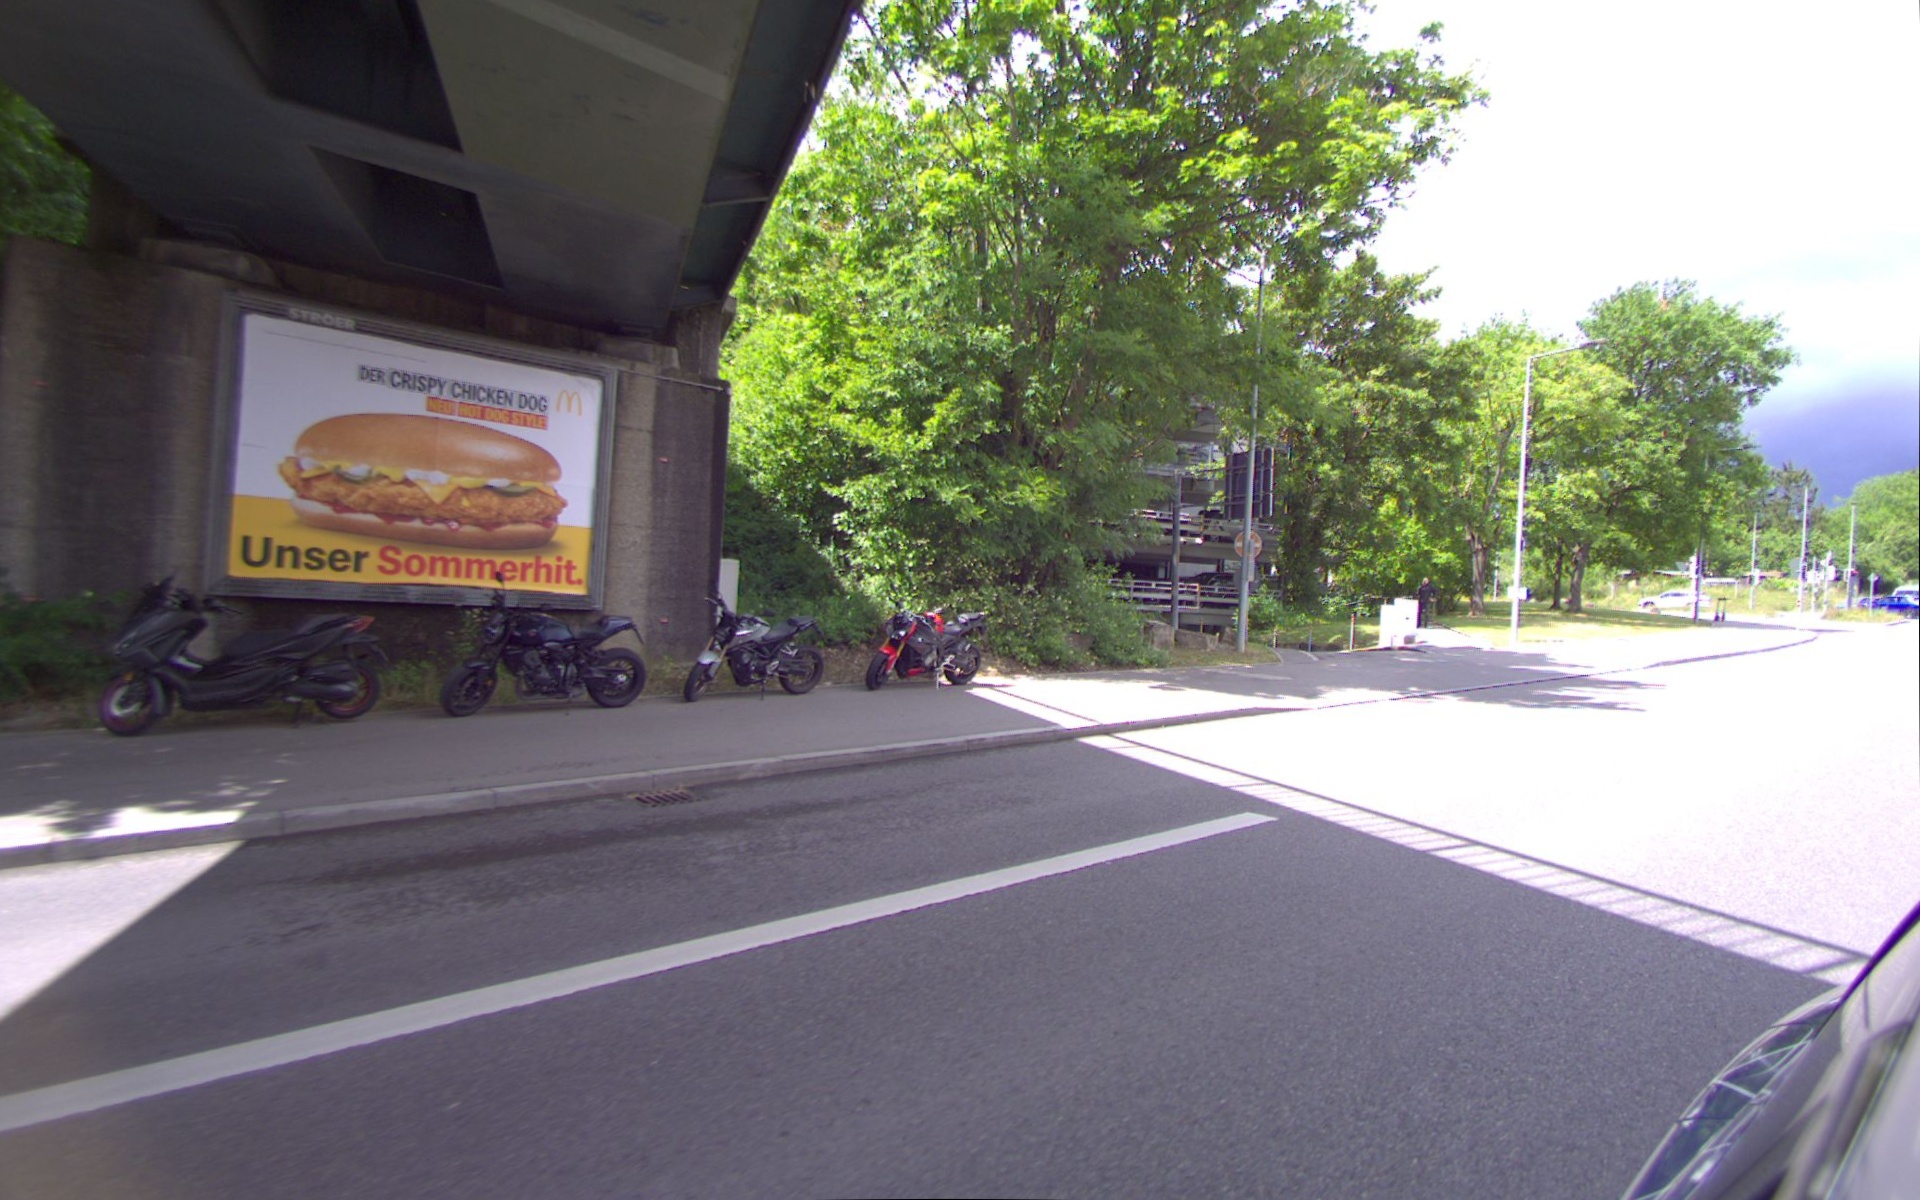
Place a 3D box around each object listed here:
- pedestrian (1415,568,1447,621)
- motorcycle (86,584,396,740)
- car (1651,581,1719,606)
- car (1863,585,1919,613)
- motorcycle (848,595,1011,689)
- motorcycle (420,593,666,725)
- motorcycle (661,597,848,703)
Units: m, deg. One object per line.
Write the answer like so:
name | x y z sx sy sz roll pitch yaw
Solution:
pedestrian | 16.738 -0.204 35.960 0.942 1.834 0.711 2 1 27
motorcycle | -6.040 0.476 8.612 2.074 1.169 0.679 0 2 -39
car | 56.670 -0.551 79.105 4.071 1.766 1.968 3 2 44
car | 64.860 -0.052 69.424 1.965 1.766 4.078 1 2 -40
motorcycle | -0.356 0.509 13.099 2.142 1.096 0.679 0 2 -41
motorcycle | -4.065 0.527 9.993 2.122 1.157 0.679 0 2 -41
motorcycle | -2.314 0.532 11.573 2.002 1.096 0.679 0 2 -41
